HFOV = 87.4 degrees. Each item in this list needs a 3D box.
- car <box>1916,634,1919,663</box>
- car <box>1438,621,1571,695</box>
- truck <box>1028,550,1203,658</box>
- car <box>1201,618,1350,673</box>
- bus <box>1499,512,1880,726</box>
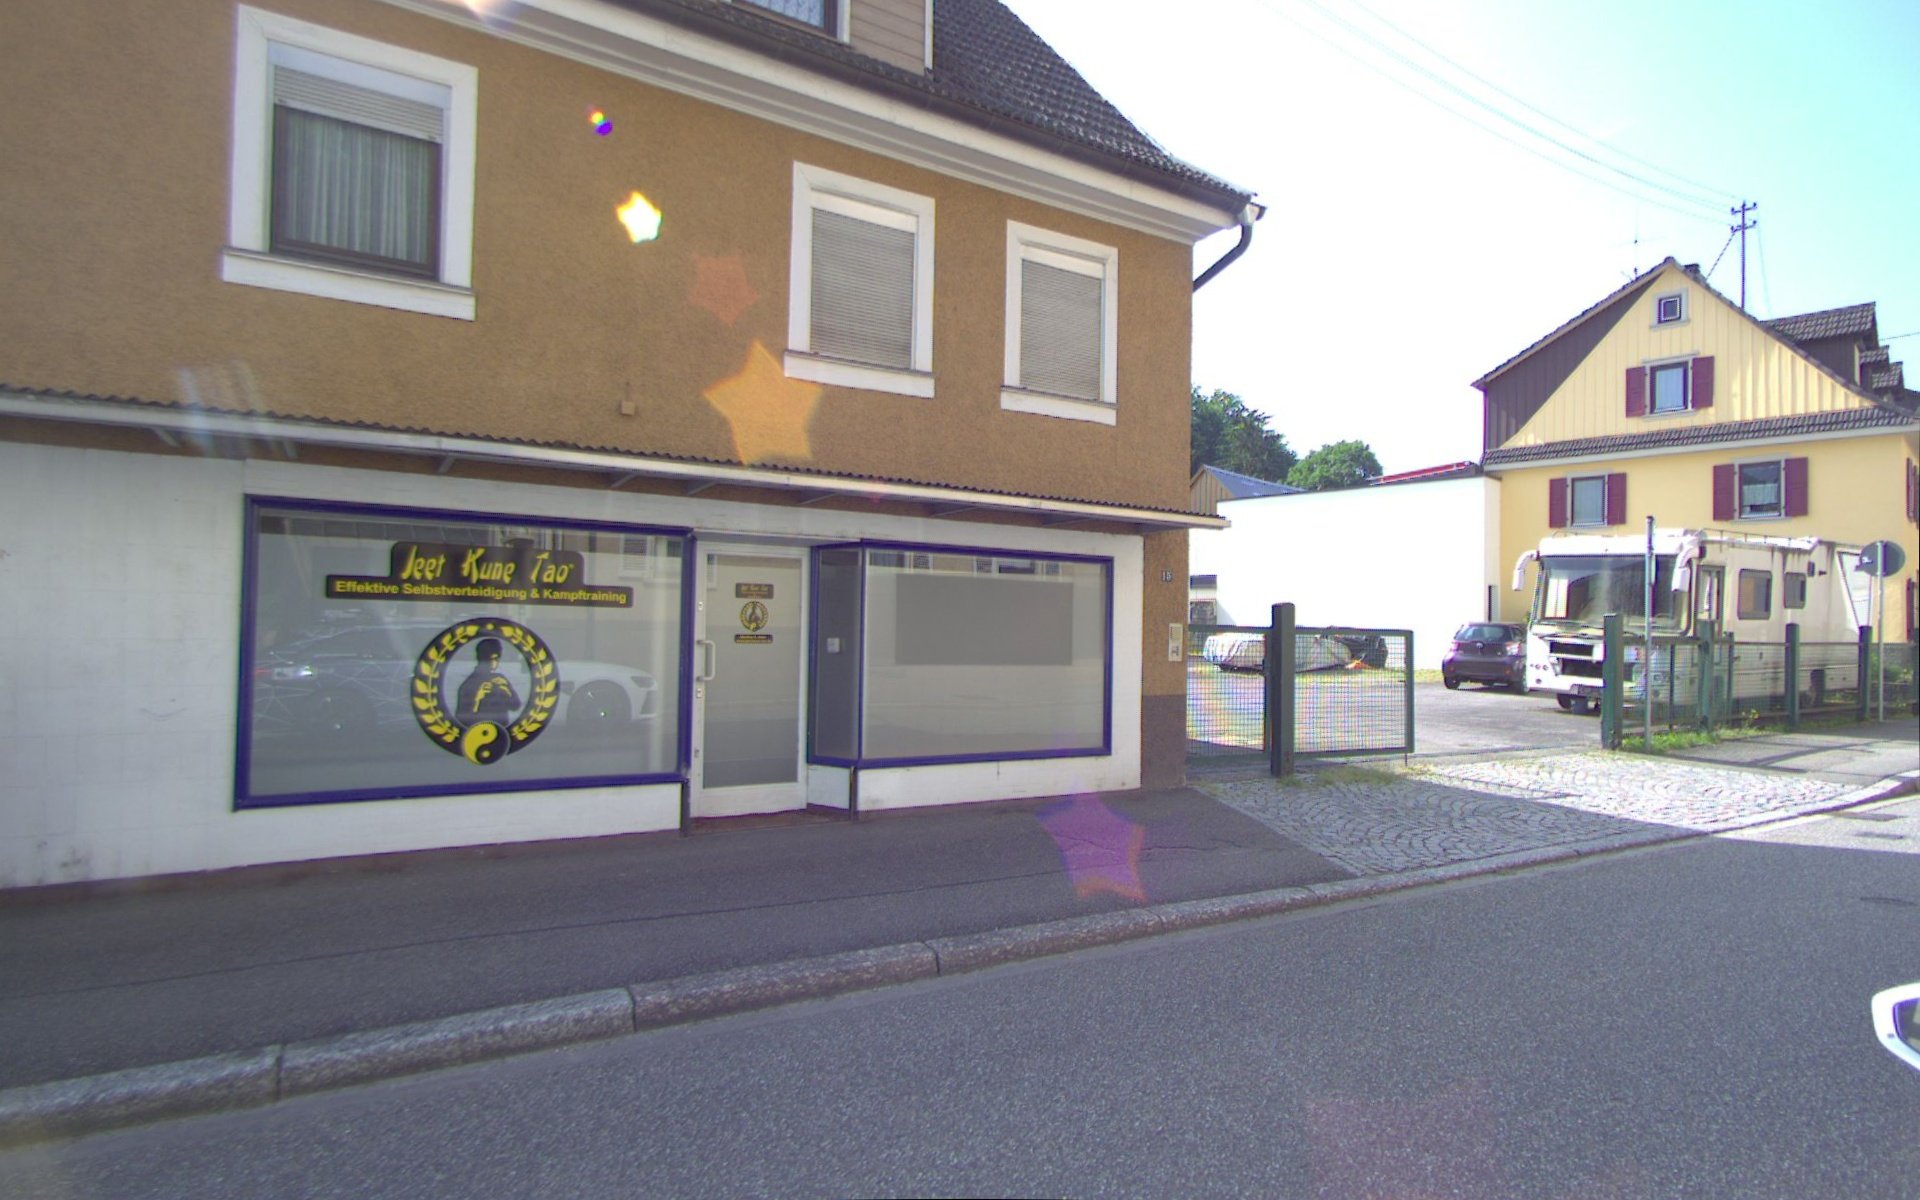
[{"bbox_3d":[49.314,2.353,49.345,1.631,1.468,4.261,-3,-4,17],"label":"car"},{"bbox_3d":[12.220,1.241,22.448,1.745,1.451,3.979,2,0,41],"label":"car"},{"bbox_3d":[4.976,0.121,31.551,5.697,3.100,2.384,0,1,-42],"label":"truck"},{"bbox_3d":[8.301,1.148,26.341,3.957,1.286,1.584,0,1,-33],"label":"car"},{"bbox_3d":[14.045,0.369,19.012,8.939,3.271,2.803,1,0,-33],"label":"bus"}]
